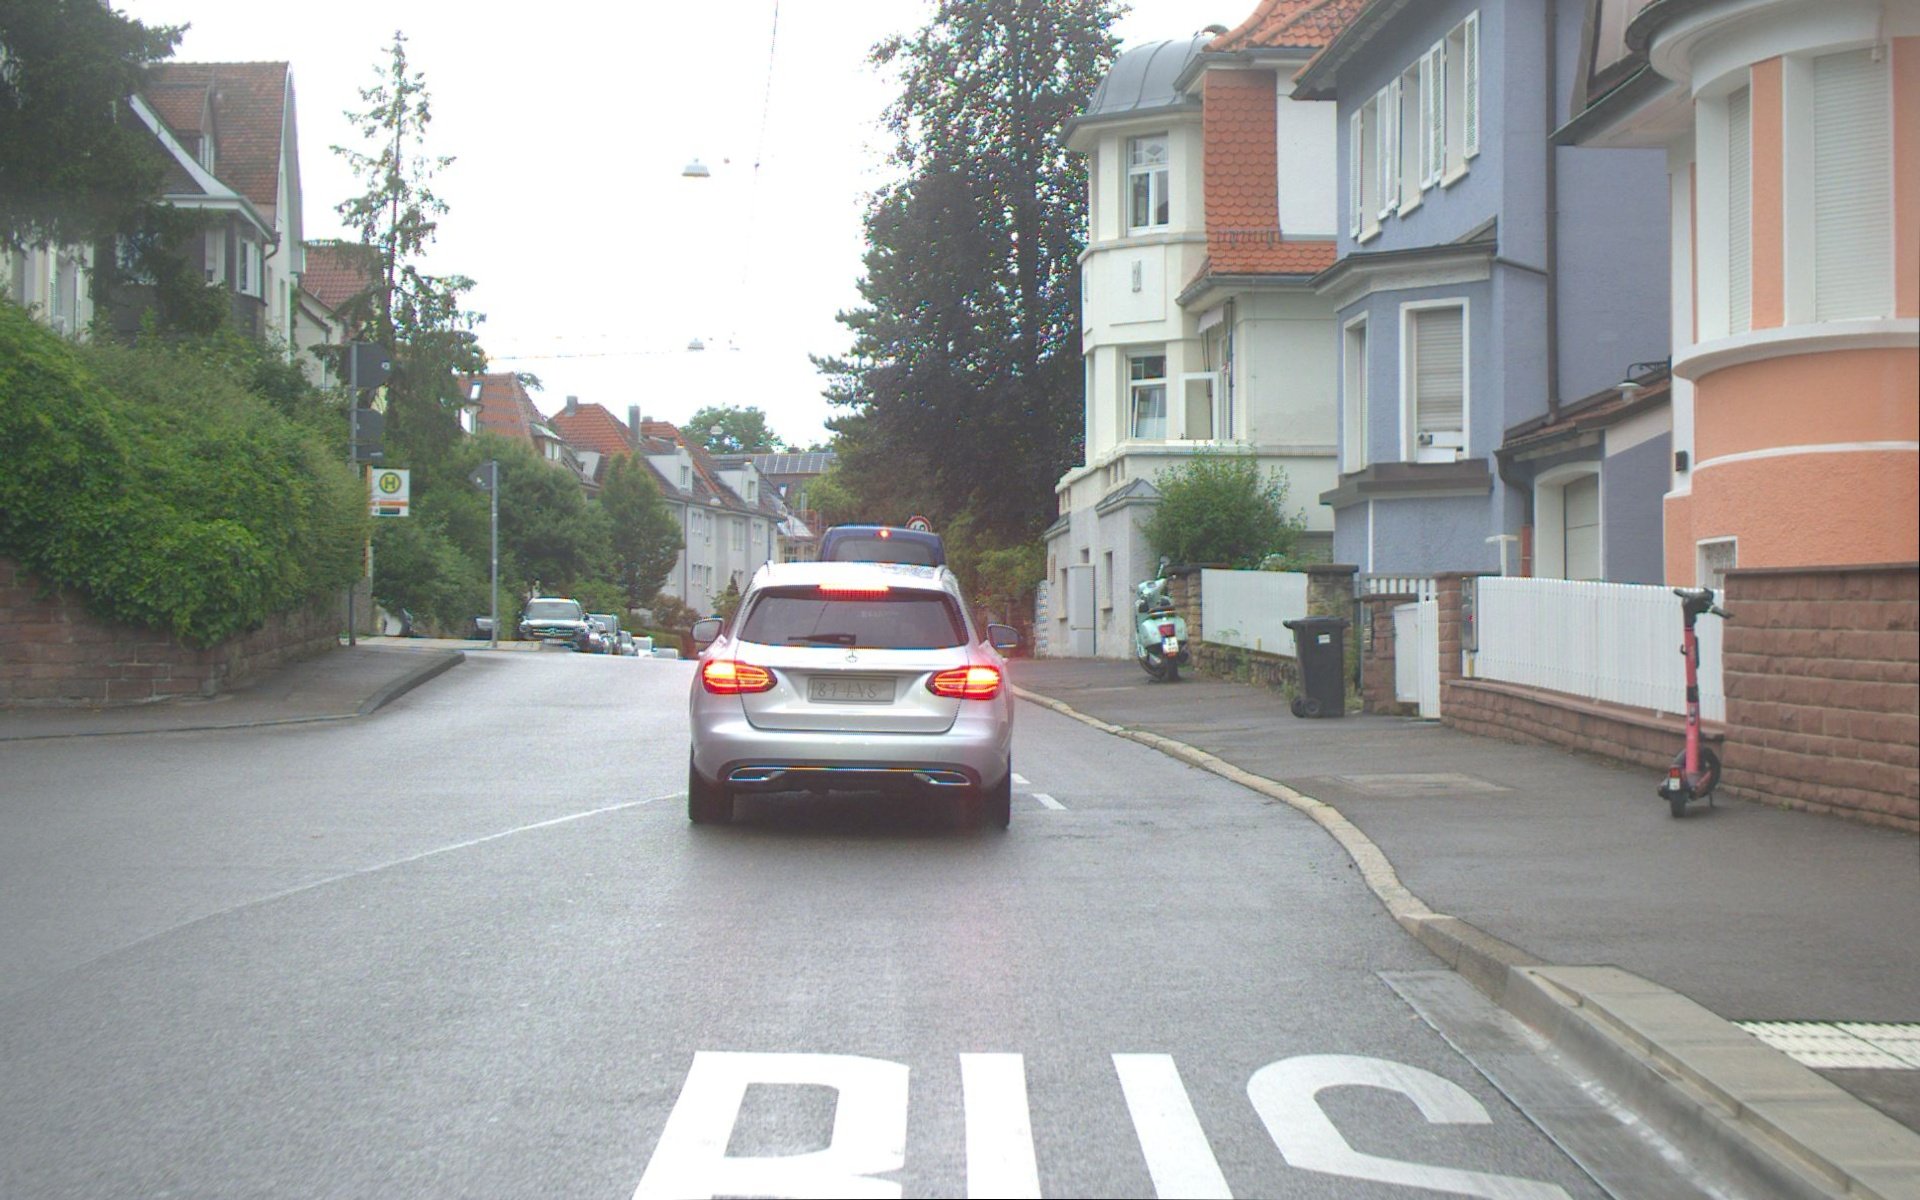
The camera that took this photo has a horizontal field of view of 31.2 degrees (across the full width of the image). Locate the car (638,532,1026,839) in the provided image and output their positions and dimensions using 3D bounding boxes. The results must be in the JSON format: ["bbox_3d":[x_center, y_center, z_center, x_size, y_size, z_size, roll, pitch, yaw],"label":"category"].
[{"bbox_3d":[-0.741,0.418,20.064,1.982,1.548,4.298,2,1,-2],"label":"car"}]

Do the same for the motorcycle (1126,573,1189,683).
[{"bbox_3d":[2.347,0.314,41.065,0.582,1.257,2.331,-1,1,0],"label":"motorcycle"}]

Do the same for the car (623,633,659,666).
[{"bbox_3d":[-13.475,2.080,145.346,1.428,1.309,3.407,0,1,-4],"label":"car"}]

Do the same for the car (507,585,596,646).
[{"bbox_3d":[-10.583,0.392,89.382,2.116,1.466,4.018,1,1,-4],"label":"car"}]

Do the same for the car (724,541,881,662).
[{"bbox_3d":[-2.065,-0.020,45.818,1.993,1.534,4.333,0,1,-2],"label":"car"}]

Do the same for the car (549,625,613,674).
[{"bbox_3d":[-11.425,1.473,103.800,1.757,1.309,3.684,2,1,-4],"label":"car"}]

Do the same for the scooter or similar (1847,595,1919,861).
[{"bbox_3d":[4.836,0.576,15.898,1.260,1.220,0.694,-2,-1,29],"label":"scooter or similar"}]

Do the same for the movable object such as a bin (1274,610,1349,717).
[{"bbox_3d":[3.202,0.578,31.376,0.549,0.933,0.634,-2,1,-3],"label":"movable object such as a bin"}]

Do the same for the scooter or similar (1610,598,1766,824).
[{"bbox_3d":[4.137,0.613,19.609,0.693,1.220,1.299,1,1,5],"label":"scooter or similar"}]

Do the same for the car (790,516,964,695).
[{"bbox_3d":[-0.904,0.021,38.261,1.824,1.876,4.095,0,1,-1],"label":"car"}]

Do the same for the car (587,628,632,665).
[{"bbox_3d":[-13.818,1.822,135.607,1.636,1.309,3.476,1,1,-4],"label":"car"}]
